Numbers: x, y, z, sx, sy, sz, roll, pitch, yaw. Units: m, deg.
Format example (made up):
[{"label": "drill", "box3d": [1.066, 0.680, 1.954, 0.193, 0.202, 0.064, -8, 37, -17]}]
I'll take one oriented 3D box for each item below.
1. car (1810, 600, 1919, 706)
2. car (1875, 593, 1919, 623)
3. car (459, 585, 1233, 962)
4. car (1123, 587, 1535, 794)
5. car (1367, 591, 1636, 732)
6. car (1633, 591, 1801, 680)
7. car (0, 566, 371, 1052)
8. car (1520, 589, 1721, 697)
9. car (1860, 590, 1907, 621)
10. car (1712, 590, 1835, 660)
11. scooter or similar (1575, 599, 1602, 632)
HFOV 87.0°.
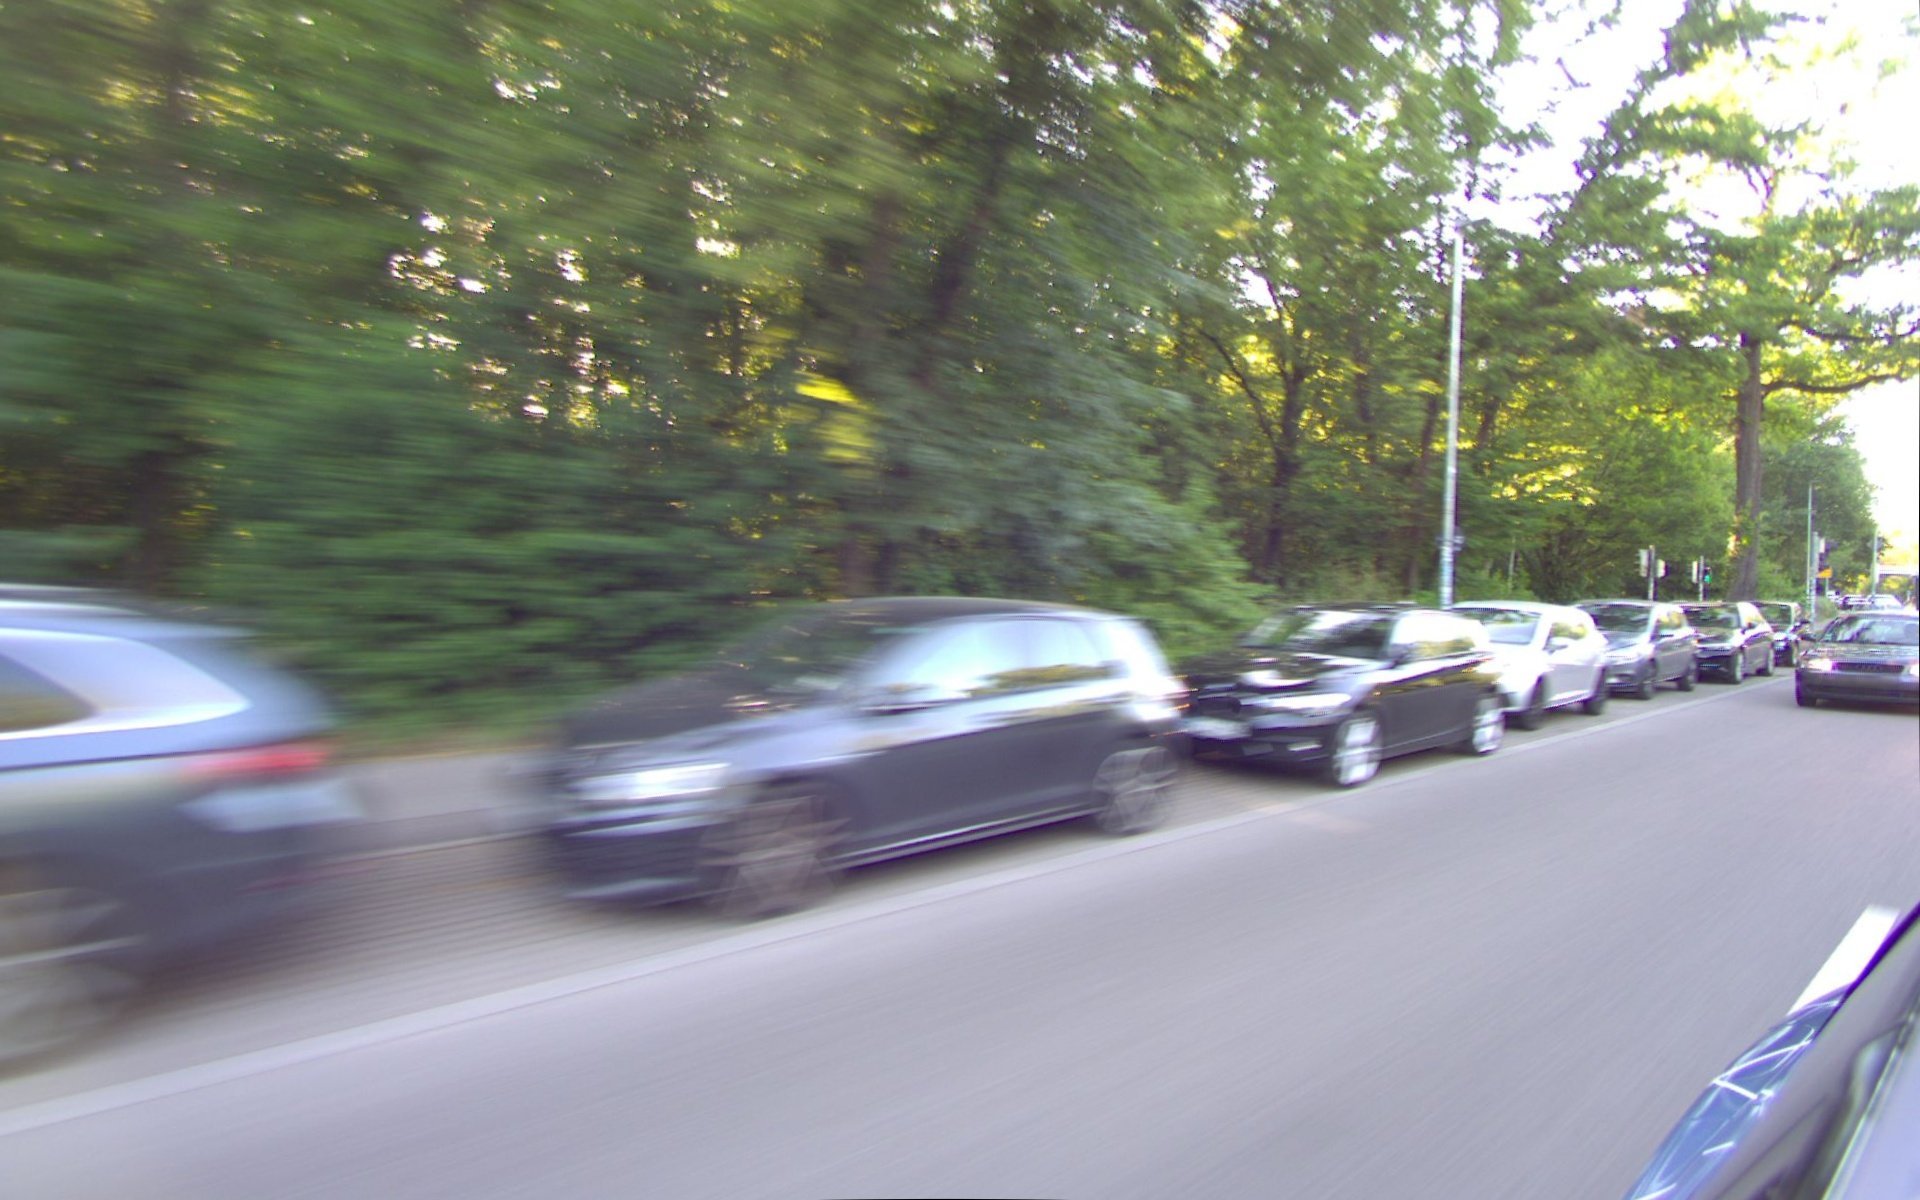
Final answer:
[{"label": "car", "box3d": [13.921, 0.703, 14.929, 3.927, 1.376, 1.676, -1, 0, -43]}, {"label": "car", "box3d": [52.405, 0.400, 56.398, 5.033, 1.487, 1.763, -1, 3, -44]}, {"label": "car", "box3d": [-0.390, 0.653, 6.061, 4.409, 1.429, 1.721, -1, 2, -41]}, {"label": "car", "box3d": [3.589, 0.621, 9.383, 4.411, 1.429, 1.721, -1, 2, -42]}, {"label": "car", "box3d": [6.954, 0.638, 12.822, 4.054, 1.429, 1.721, -1, 2, -42]}, {"label": "car", "box3d": [15.010, 0.597, 19.961, 4.903, 1.487, 1.721, -1, 2, -42]}, {"label": "car", "box3d": [-4.505, 0.616, 2.762, 4.819, 1.429, 1.722, -1, 2, -39]}, {"label": "car", "box3d": [10.805, 0.591, 16.451, 4.131, 1.487, 1.721, -1, 2, -42]}, {"label": "car", "box3d": [48.123, 0.273, 52.757, 1.717, 1.487, 3.815, 2, 2, 42]}, {"label": "car", "box3d": [19.590, 0.536, 24.320, 3.692, 1.487, 1.721, -1, 2, -42]}, {"label": "scooter or similar", "box3d": [22.112, 0.541, 35.592, 1.200, 1.158, 0.379, 0, 1, -37]}]
